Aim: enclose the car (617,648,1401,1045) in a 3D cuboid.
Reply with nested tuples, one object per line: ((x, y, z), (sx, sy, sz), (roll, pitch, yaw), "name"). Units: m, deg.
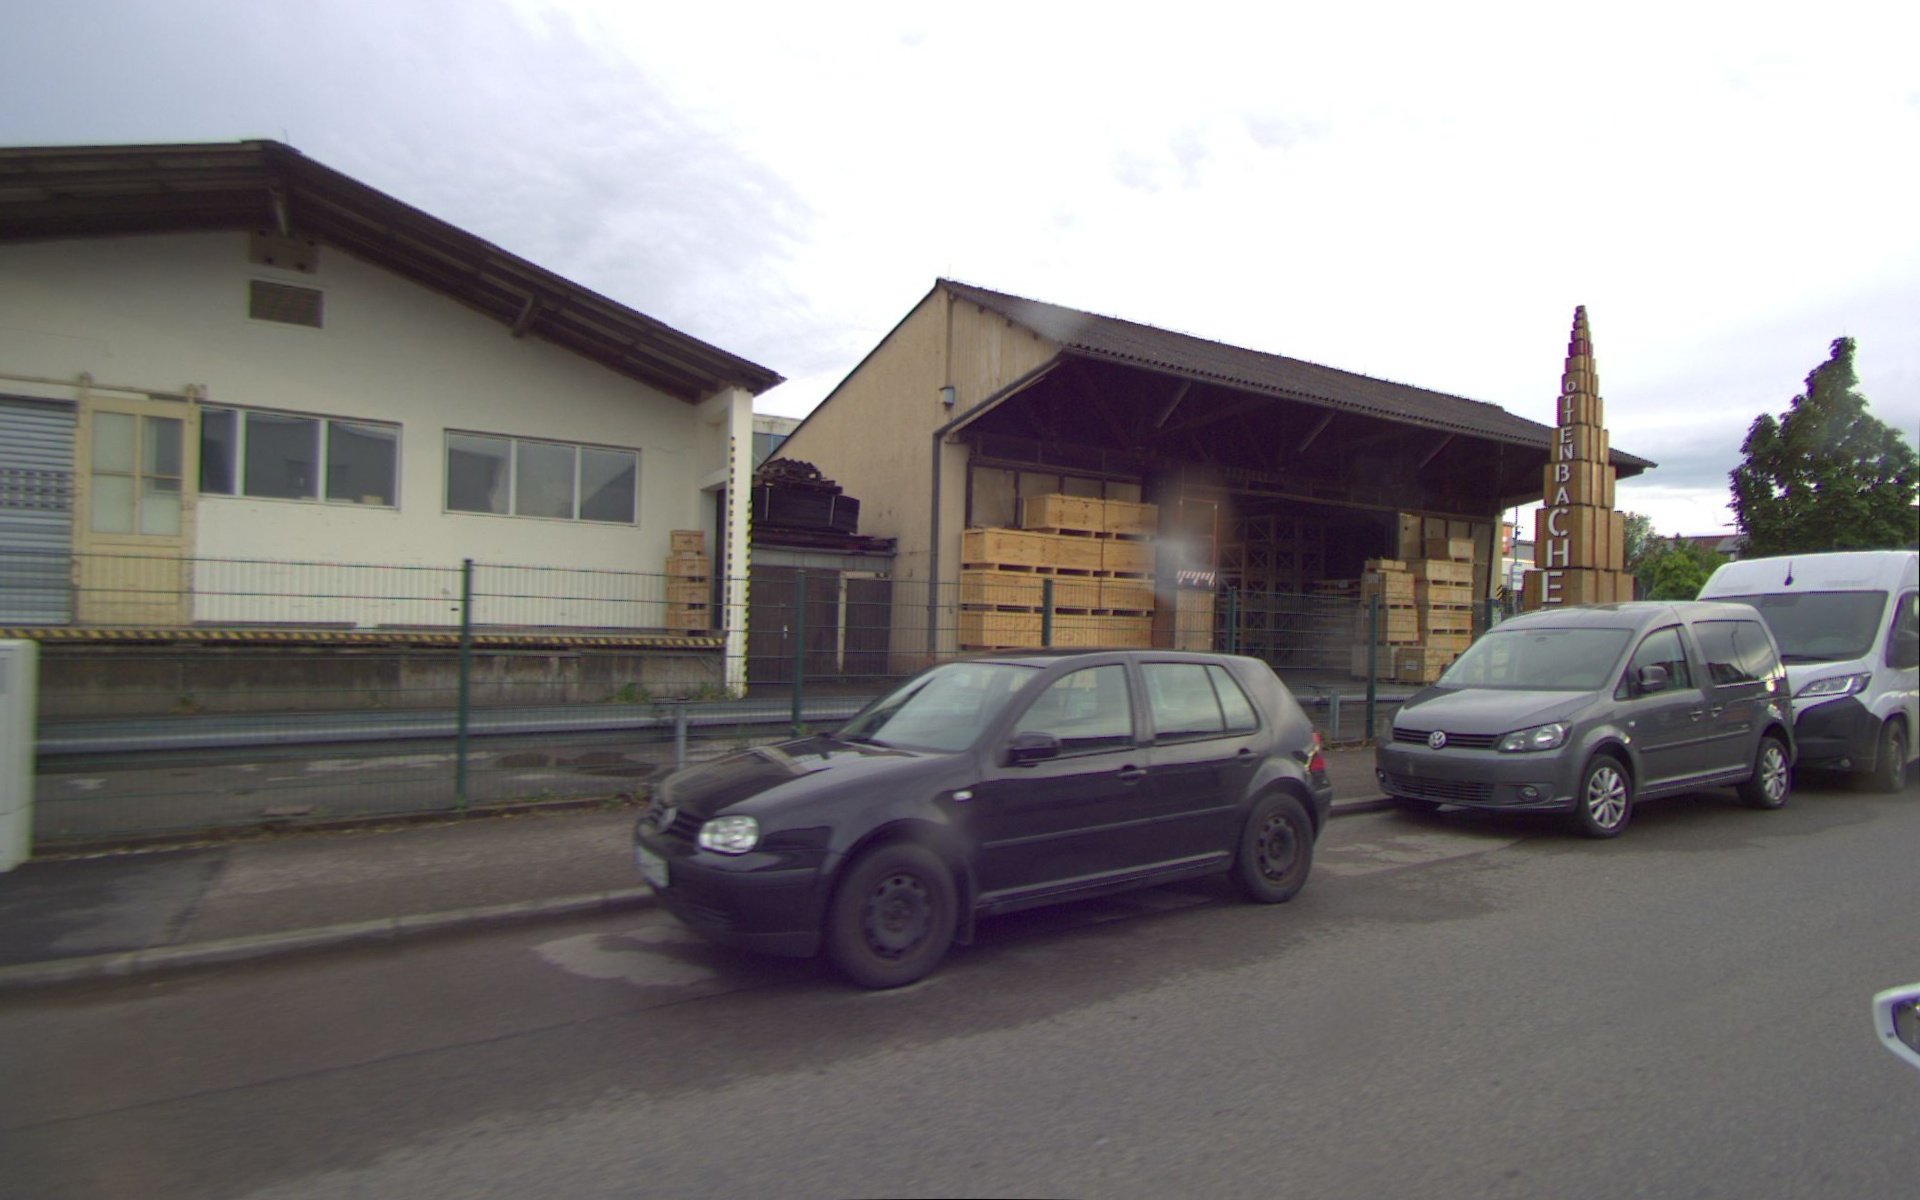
((0.460, 1.018, 5.668), (4.271, 1.467, 1.652), (2, -2, -33), "car")

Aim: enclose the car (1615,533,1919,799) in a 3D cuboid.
((10.608, 0.723, 11.919), (6.386, 2.458, 2.148), (1, -4, -31), "car")

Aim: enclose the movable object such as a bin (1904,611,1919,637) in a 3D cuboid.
((66.665, 1.685, 68.208), (1.982, 1.783, 3.397), (1, 0, -37), "movable object such as a bin")

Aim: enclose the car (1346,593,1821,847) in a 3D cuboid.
((5.670, 0.955, 9.015), (4.395, 1.791, 1.761), (2, -4, -31), "car")
